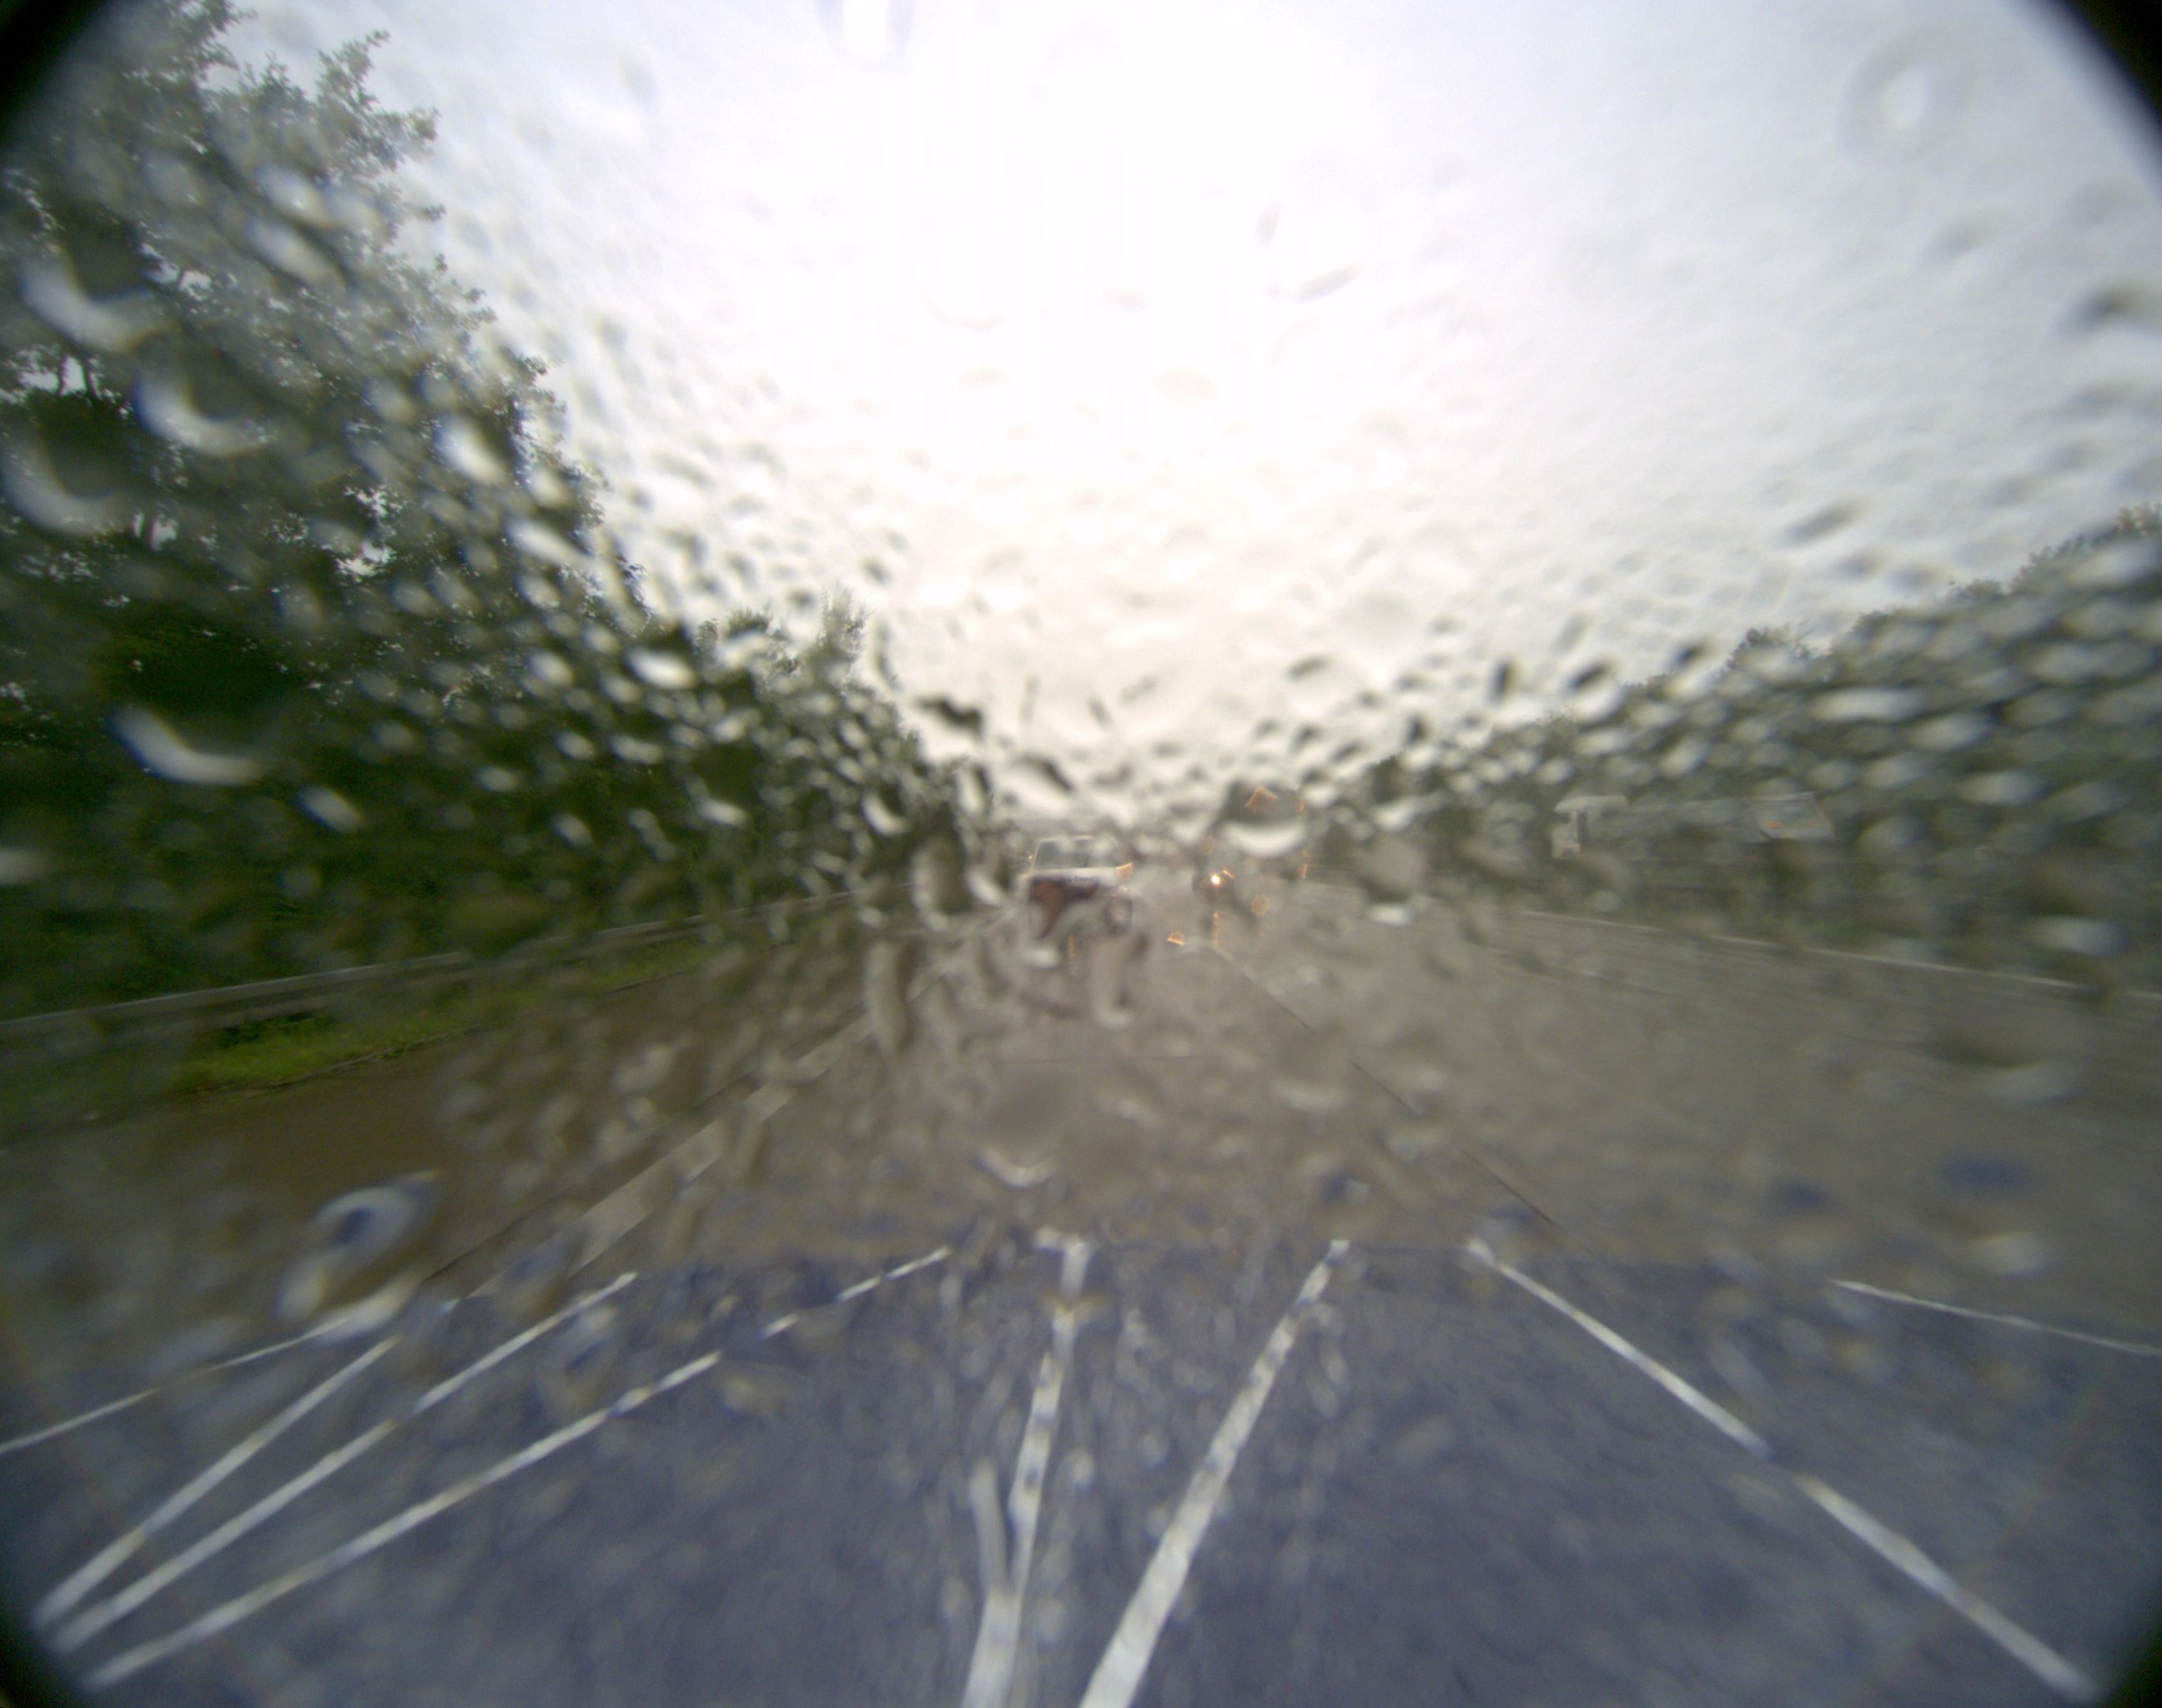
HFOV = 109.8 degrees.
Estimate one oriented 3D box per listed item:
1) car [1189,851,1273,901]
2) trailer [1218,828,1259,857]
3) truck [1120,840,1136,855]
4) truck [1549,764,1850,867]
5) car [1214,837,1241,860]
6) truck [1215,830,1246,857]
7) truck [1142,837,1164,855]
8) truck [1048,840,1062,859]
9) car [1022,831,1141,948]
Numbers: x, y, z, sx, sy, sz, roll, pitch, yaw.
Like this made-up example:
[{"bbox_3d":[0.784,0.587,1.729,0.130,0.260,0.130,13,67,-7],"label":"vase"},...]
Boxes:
[{"bbox_3d":[4.656,0.628,24.172,1.745,1.380,4.320,-1,1,-1],"label":"car"},{"bbox_3d":[22.818,-1.549,110.603,3.144,3.834,12.869,-2,0,0],"label":"trailer"},{"bbox_3d":[14.089,-1.864,229.026,3.132,4.220,13.537,-3,0,-3],"label":"truck"},{"bbox_3d":[24.094,-1.294,31.001,2.781,3.296,11.515,-3,0,0],"label":"truck"},{"bbox_3d":[19.505,-0.739,101.454,2.094,2.883,6.533,-3,0,0],"label":"car"},{"bbox_3d":[22.814,-1.603,116.265,3.144,3.834,6.885,-2,0,0],"label":"truck"},{"bbox_3d":[17.821,-1.956,188.251,3.132,4.220,16.367,-3,0,-2],"label":"truck"},{"bbox_3d":[-6.145,-0.926,177.214,3.059,3.994,10.041,0,-2,-3],"label":"truck"},{"bbox_3d":[0.041,0.591,15.351,1.904,1.883,5.043,-3,0,1],"label":"car"}]
